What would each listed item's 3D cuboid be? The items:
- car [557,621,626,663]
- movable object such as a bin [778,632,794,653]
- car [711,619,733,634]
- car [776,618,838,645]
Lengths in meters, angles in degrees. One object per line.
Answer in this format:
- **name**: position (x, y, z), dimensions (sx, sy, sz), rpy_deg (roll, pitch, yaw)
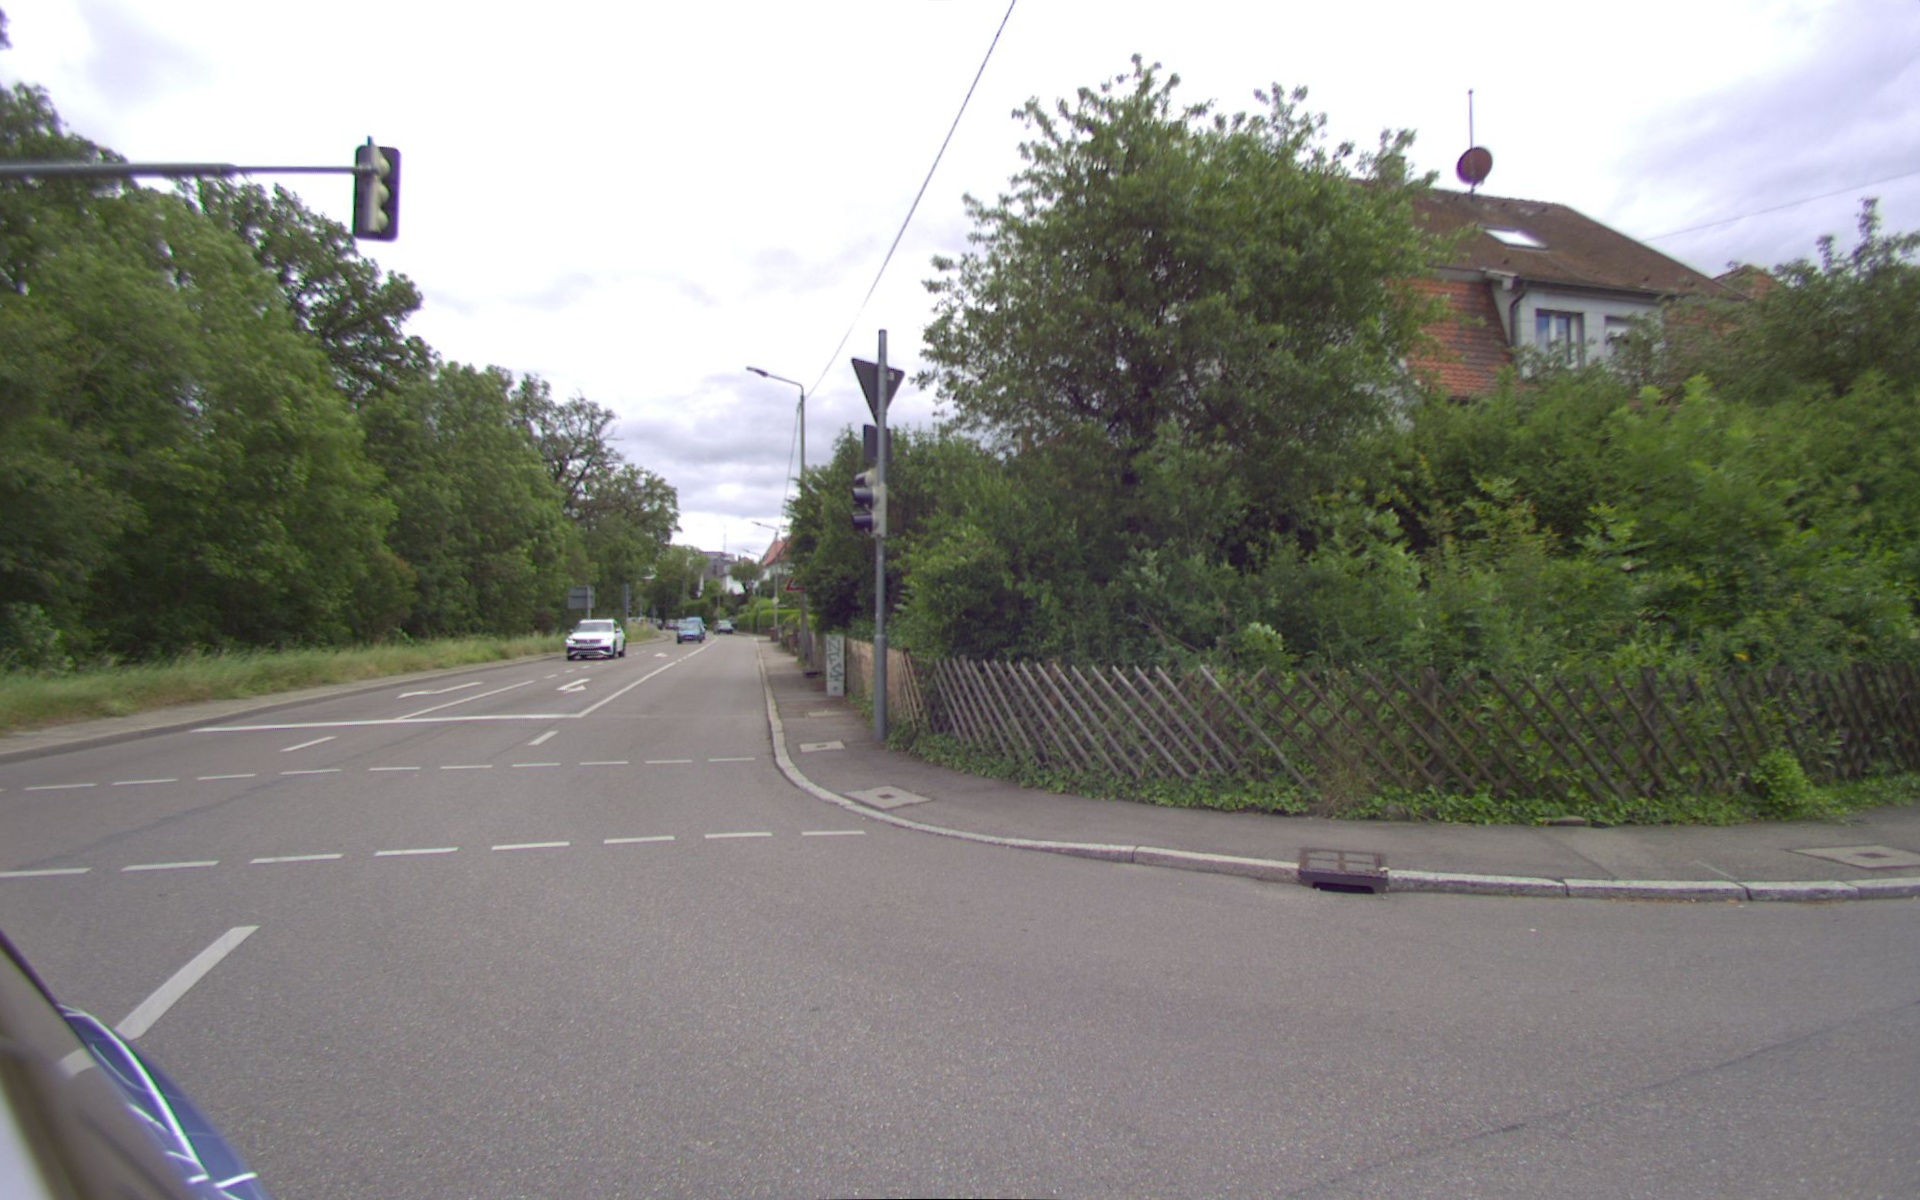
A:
- **car**: position (-14.985, 1.662, 41.336), dimensions (1.968, 1.586, 4.008), rpy_deg (0, -1, -10)
- **movable object such as a bin**: position (-7.849, 1.936, 45.767), dimensions (0.626, 0.920, 0.560), rpy_deg (-2, -1, -2)
- **car**: position (-26.165, 2.897, 111.076), dimensions (1.808, 1.535, 4.013), rpy_deg (0, -1, -21)
- **car**: position (-10.274, 2.091, 67.769), dimensions (3.934, 1.606, 1.722), rpy_deg (-2, -1, -11)
